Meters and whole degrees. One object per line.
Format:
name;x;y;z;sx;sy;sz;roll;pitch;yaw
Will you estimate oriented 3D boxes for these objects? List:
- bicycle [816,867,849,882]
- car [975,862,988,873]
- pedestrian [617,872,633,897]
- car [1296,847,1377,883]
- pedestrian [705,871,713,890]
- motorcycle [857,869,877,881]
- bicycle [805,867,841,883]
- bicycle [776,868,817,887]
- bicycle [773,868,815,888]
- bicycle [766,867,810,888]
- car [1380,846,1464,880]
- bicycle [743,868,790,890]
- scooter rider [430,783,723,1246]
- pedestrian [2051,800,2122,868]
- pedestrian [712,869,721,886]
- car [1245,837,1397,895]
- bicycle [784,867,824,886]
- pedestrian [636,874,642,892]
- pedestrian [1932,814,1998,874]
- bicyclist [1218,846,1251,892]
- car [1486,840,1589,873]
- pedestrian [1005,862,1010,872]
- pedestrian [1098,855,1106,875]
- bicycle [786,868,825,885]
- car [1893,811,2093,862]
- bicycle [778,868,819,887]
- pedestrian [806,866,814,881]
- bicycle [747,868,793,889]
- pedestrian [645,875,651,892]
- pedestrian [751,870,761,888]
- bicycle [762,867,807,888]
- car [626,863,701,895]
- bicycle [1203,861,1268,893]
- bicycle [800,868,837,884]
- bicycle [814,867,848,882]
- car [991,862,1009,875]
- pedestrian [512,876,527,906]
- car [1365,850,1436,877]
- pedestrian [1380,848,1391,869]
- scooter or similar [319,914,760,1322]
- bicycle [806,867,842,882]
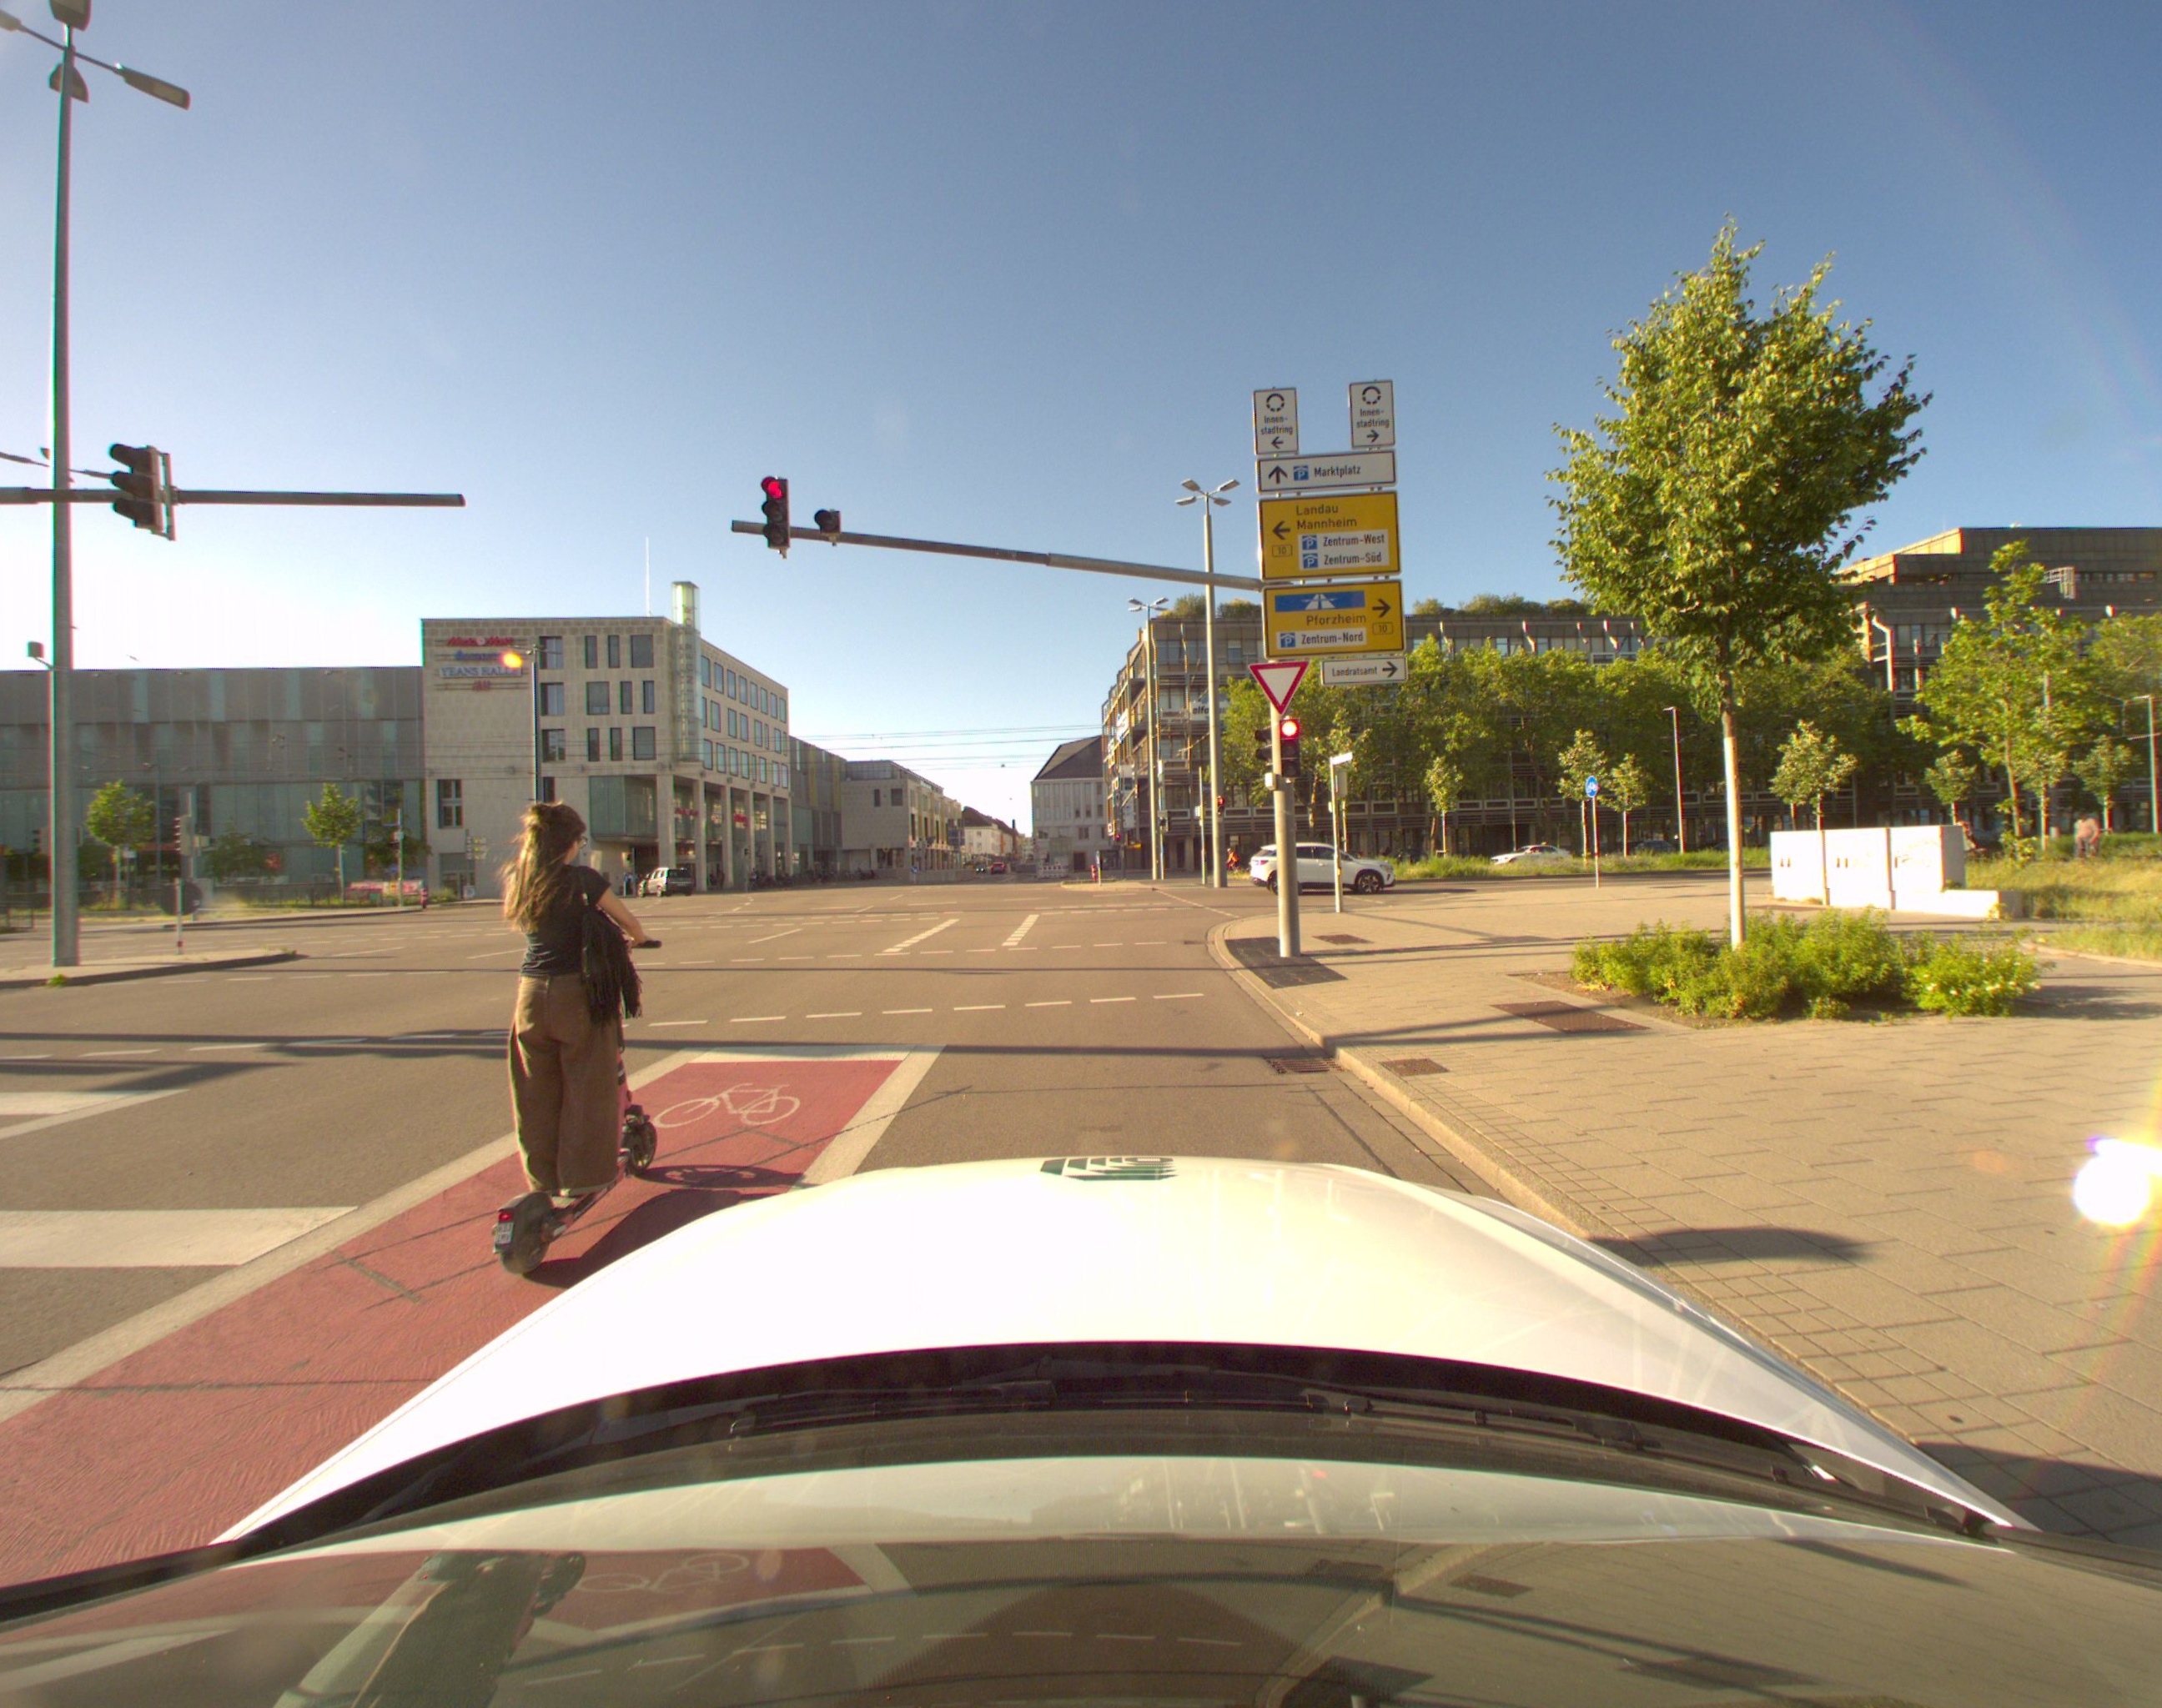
bicycle;-28.296;2.334;92.777;3.491;1.527;0.984;-2;0;-10
car;-17.163;2.380;140.842;1.752;1.783;3.997;-2;0;-2
pedestrian;-33.855;2.236;60.446;0.756;1.798;0.735;-2;0;-6
car;14.446;0.623;46.206;3.975;2.014;1.999;0;-1;-1
pedestrian;-32.436;2.329;71.039;0.480;1.585;0.513;-2;0;-3
motorcycle;-25.974;2.540;98.865;2.269;1.318;0.719;-2;0;-4
bicycle;-27.659;2.217;87.448;3.491;1.527;0.984;-2;0;-10
bicycle;-26.862;2.203;76.856;3.491;1.696;0.984;-2;0;-10
bicycle;-26.686;2.185;75.760;3.491;1.696;0.984;-2;0;-10
bicycle;-26.326;2.120;73.174;3.488;1.696;1.114;-2;0;-7
car;21.399;0.565;51.244;4.435;2.014;1.998;0;-1;-4
bicycle;-26.738;2.101;69.292;3.488;1.696;1.114;-2;0;-7
scooter rider;-2.133;0.622;3.557;0.726;1.775;0.811;-1;0;1
pedestrian;26.686;-0.517;21.620;0.694;1.728;0.939;-2;0;-12
pedestrian;-32.078;2.080;71.632;0.480;1.510;0.513;-2;0;-3
car;7.528;0.349;25.911;4.367;1.660;2.005;-2;1;7
bicycle;-27.254;2.239;80.161;3.491;1.696;0.984;-2;0;-10
pedestrian;-36.927;2.421;68.006;0.388;1.426;0.498;-2;0;-26
pedestrian;24.977;-0.275;23.020;0.801;1.630;0.939;-2;0;-12
bicyclist;8.879;0.859;47.068;1.566;2.580;0.929;-2;0;-7
car;28.887;0.148;51.650;5.424;2.014;2.097;0;-1;-1
pedestrian;-9.771;1.733;108.863;0.608;1.411;0.569;-2;0;-5
pedestrian;1.808;0.919;69.753;0.661;1.658;0.755;-2;0;-1
bicycle;-27.416;2.231;81.158;3.491;1.527;0.984;-2;0;-10
car;31.896;-0.616;28.585;4.924;1.601;1.999;-2;1;-2
bicycle;-27.050;2.215;78.065;3.491;1.696;0.984;-2;0;-10
pedestrian;-30.110;2.168;90.623;0.652;1.642;0.693;-2;0;-7
bicycle;-26.916;2.130;70.499;3.488;1.696;1.114;-2;0;-7
pedestrian;-36.377;2.440;68.407;0.388;1.412;0.434;-2;0;-27
pedestrian;-30.473;2.329;76.362;0.786;1.642;0.691;-2;0;-15
bicycle;-26.150;2.074;71.953;3.488;1.696;1.114;-2;0;-7
car;-24.019;1.442;46.801;4.422;1.607;2.013;-3;0;36
bicycle;8.920;1.319;47.064;3.488;1.659;0.929;-2;0;-7
bicycle;-27.554;2.296;85.580;3.491;1.527;0.984;-2;0;-10
bicycle;-28.178;2.296;91.747;3.491;1.527;0.984;-2;0;-10
car;-10.796;1.888;108.859;2.195;1.607;4.320;-2;0;-4
pedestrian;-32.608;2.153;47.295;0.525;1.694;0.546;-2;0;-8
car;21.397;0.610;54.579;3.976;1.750;1.998;0;-1;-2
pedestrian;23.606;0.328;63.102;0.538;1.590;0.586;-2;0;-1
scooter or similar;-2.111;0.930;3.509;0.725;1.202;1.665;-1;0;2
bicycle;-27.928;2.217;88.577;3.491;1.527;0.984;-2;0;-10
